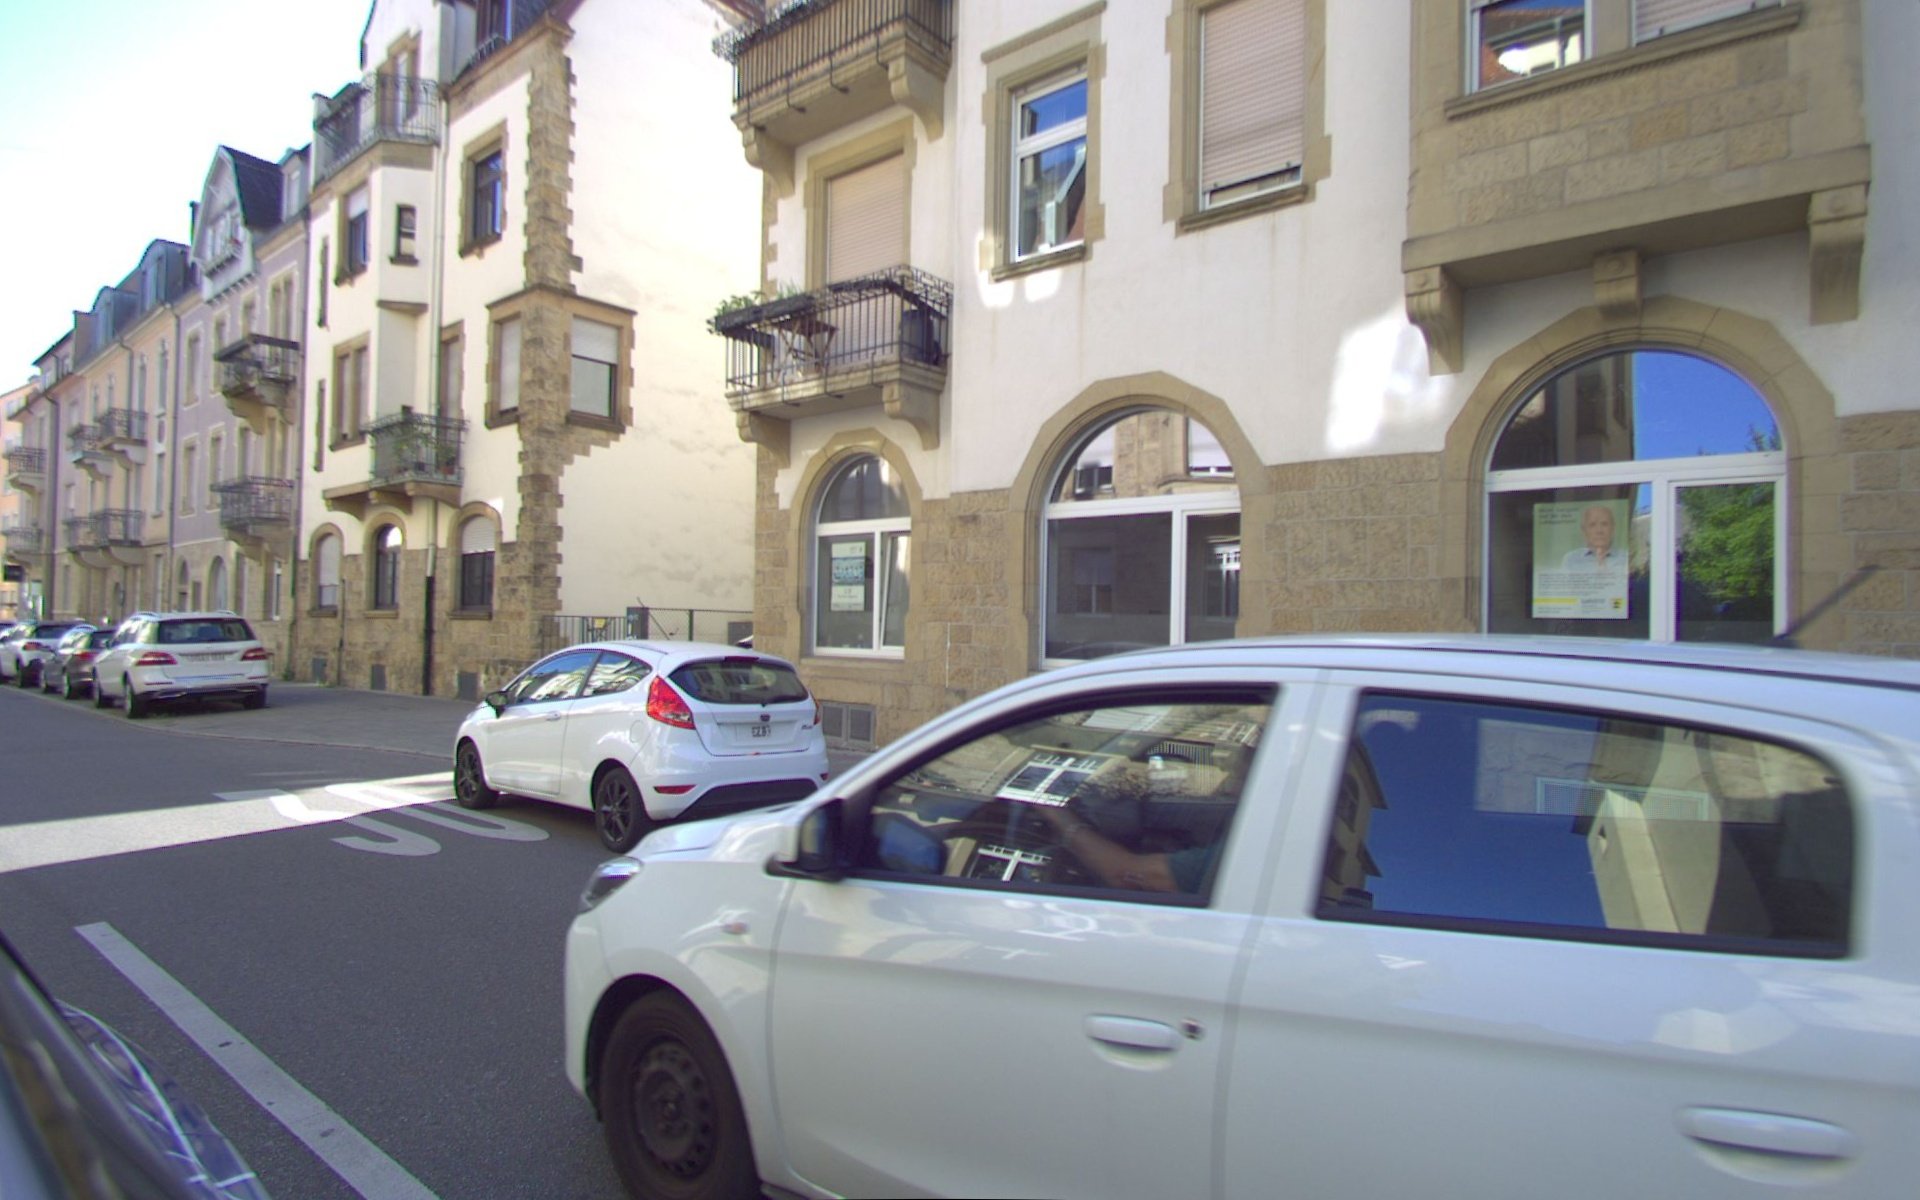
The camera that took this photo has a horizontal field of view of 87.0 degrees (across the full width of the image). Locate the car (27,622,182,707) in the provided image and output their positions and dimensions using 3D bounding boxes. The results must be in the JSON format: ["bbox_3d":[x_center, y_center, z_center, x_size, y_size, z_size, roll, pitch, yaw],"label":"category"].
[{"bbox_3d":[-18.447,1.294,21.752,4.319,1.519,1.866,-1,2,41],"label":"car"}]

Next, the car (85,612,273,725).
[{"bbox_3d":[-13.952,1.102,17.996,4.209,1.740,1.866,-1,0,41],"label":"car"}]

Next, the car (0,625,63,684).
[{"bbox_3d":[-27.158,1.520,28.873,4.317,1.511,1.833,-1,0,41],"label":"car"}]

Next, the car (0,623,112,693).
[{"bbox_3d":[-22.950,1.387,25.434,4.319,1.520,1.866,-1,0,41],"label":"car"}]

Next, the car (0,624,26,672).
[{"bbox_3d":[-33.171,1.611,34.247,4.319,1.520,1.866,-1,0,41],"label":"car"}]

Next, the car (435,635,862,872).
[{"bbox_3d":[-2.640,1.048,8.179,3.642,1.469,1.634,-2,-5,42],"label":"car"}]

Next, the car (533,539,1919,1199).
[{"bbox_3d":[0.841,0.743,2.268,3.526,1.495,1.683,-1,-4,36],"label":"car"}]
